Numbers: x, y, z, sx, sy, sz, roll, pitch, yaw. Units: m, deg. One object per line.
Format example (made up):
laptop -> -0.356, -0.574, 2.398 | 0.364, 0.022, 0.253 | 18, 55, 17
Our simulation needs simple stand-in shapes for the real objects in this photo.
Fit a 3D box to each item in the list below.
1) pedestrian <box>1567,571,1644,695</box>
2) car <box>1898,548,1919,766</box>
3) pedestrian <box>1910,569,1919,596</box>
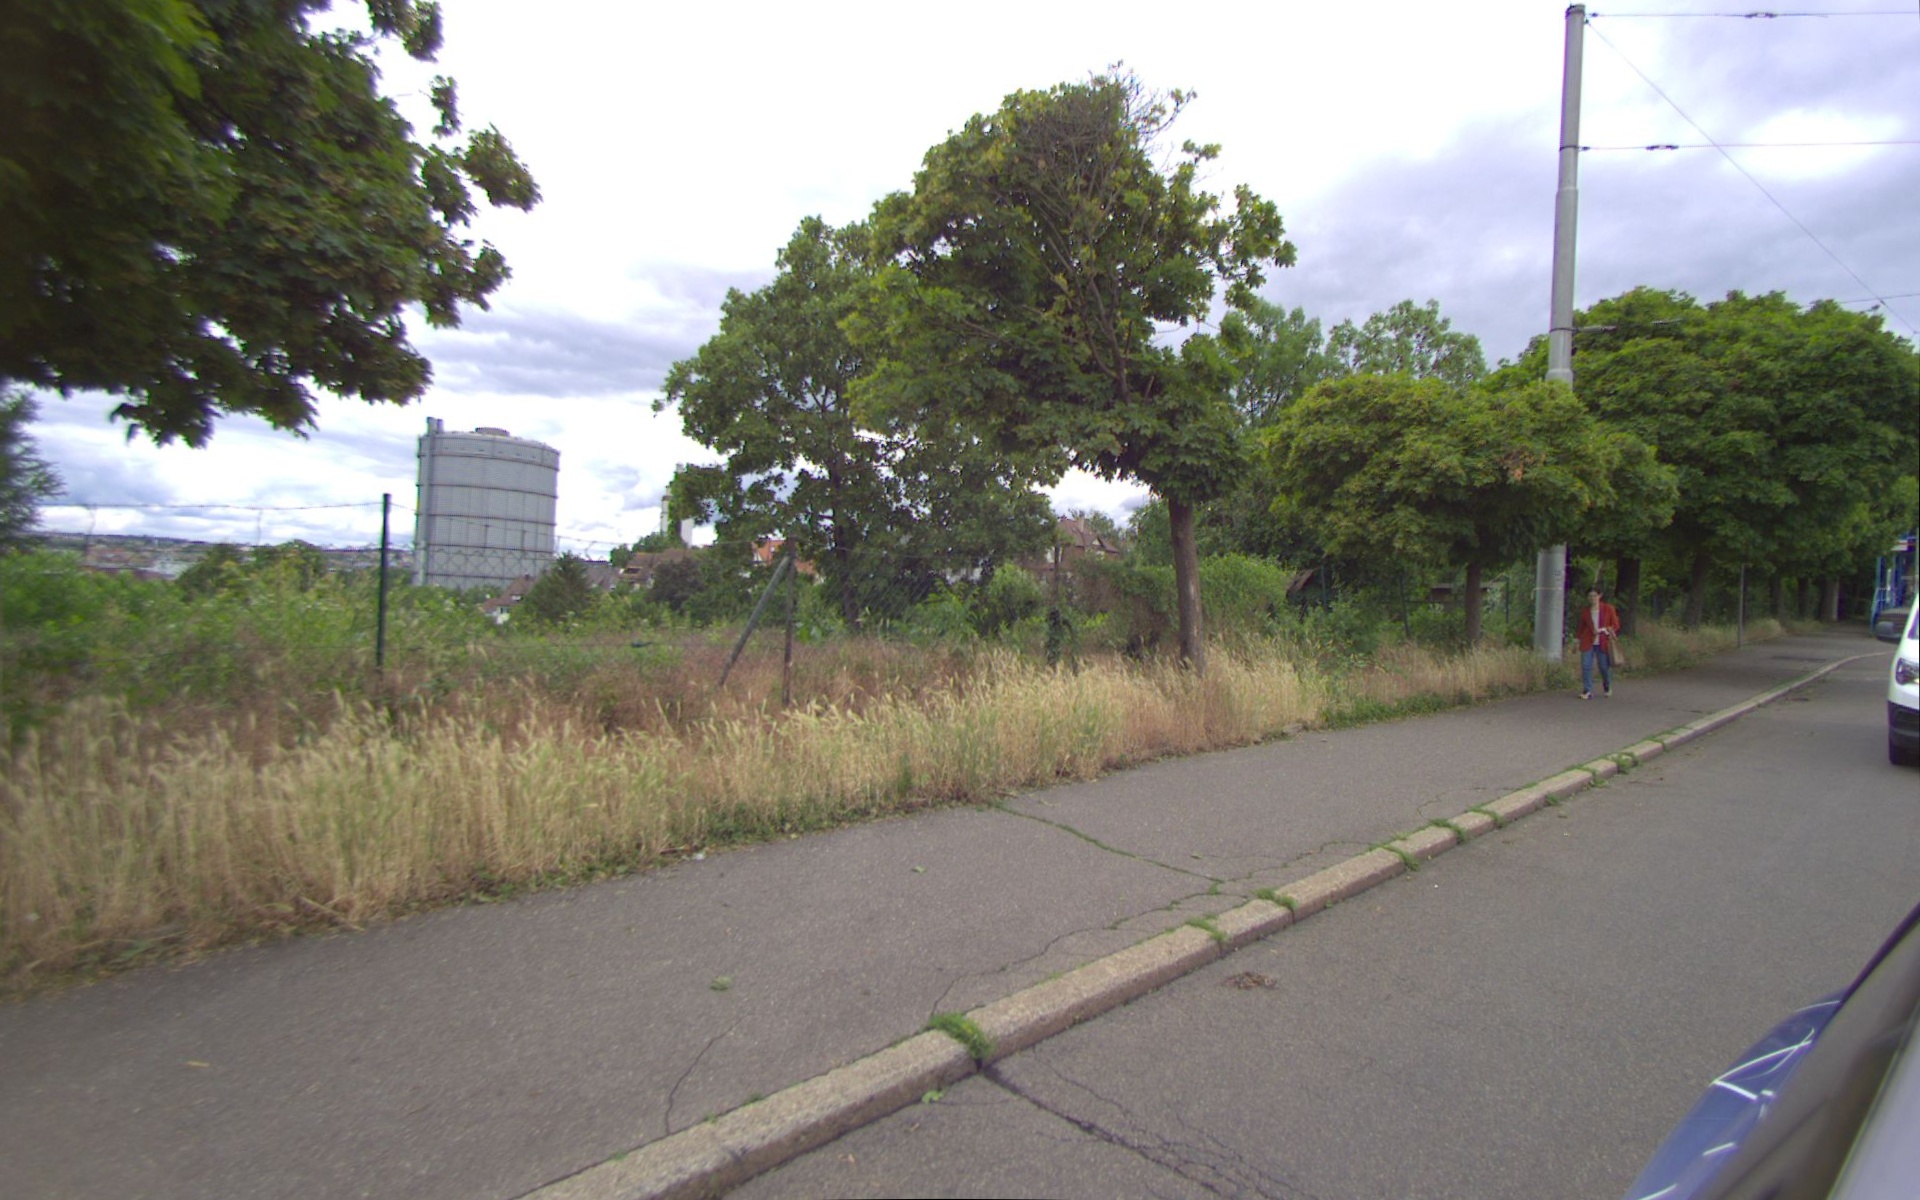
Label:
pedestrian -> 8.941, 0.431, 14.016 | 0.707, 1.640, 0.715 | -1, 2, -44
car -> 10.386, 0.509, 9.684 | 4.346, 1.884, 1.728 | 0, 2, -43
pedestrian -> 46.743, -0.850, 49.158 | 0.646, 1.331, 0.780 | -1, 2, -44
